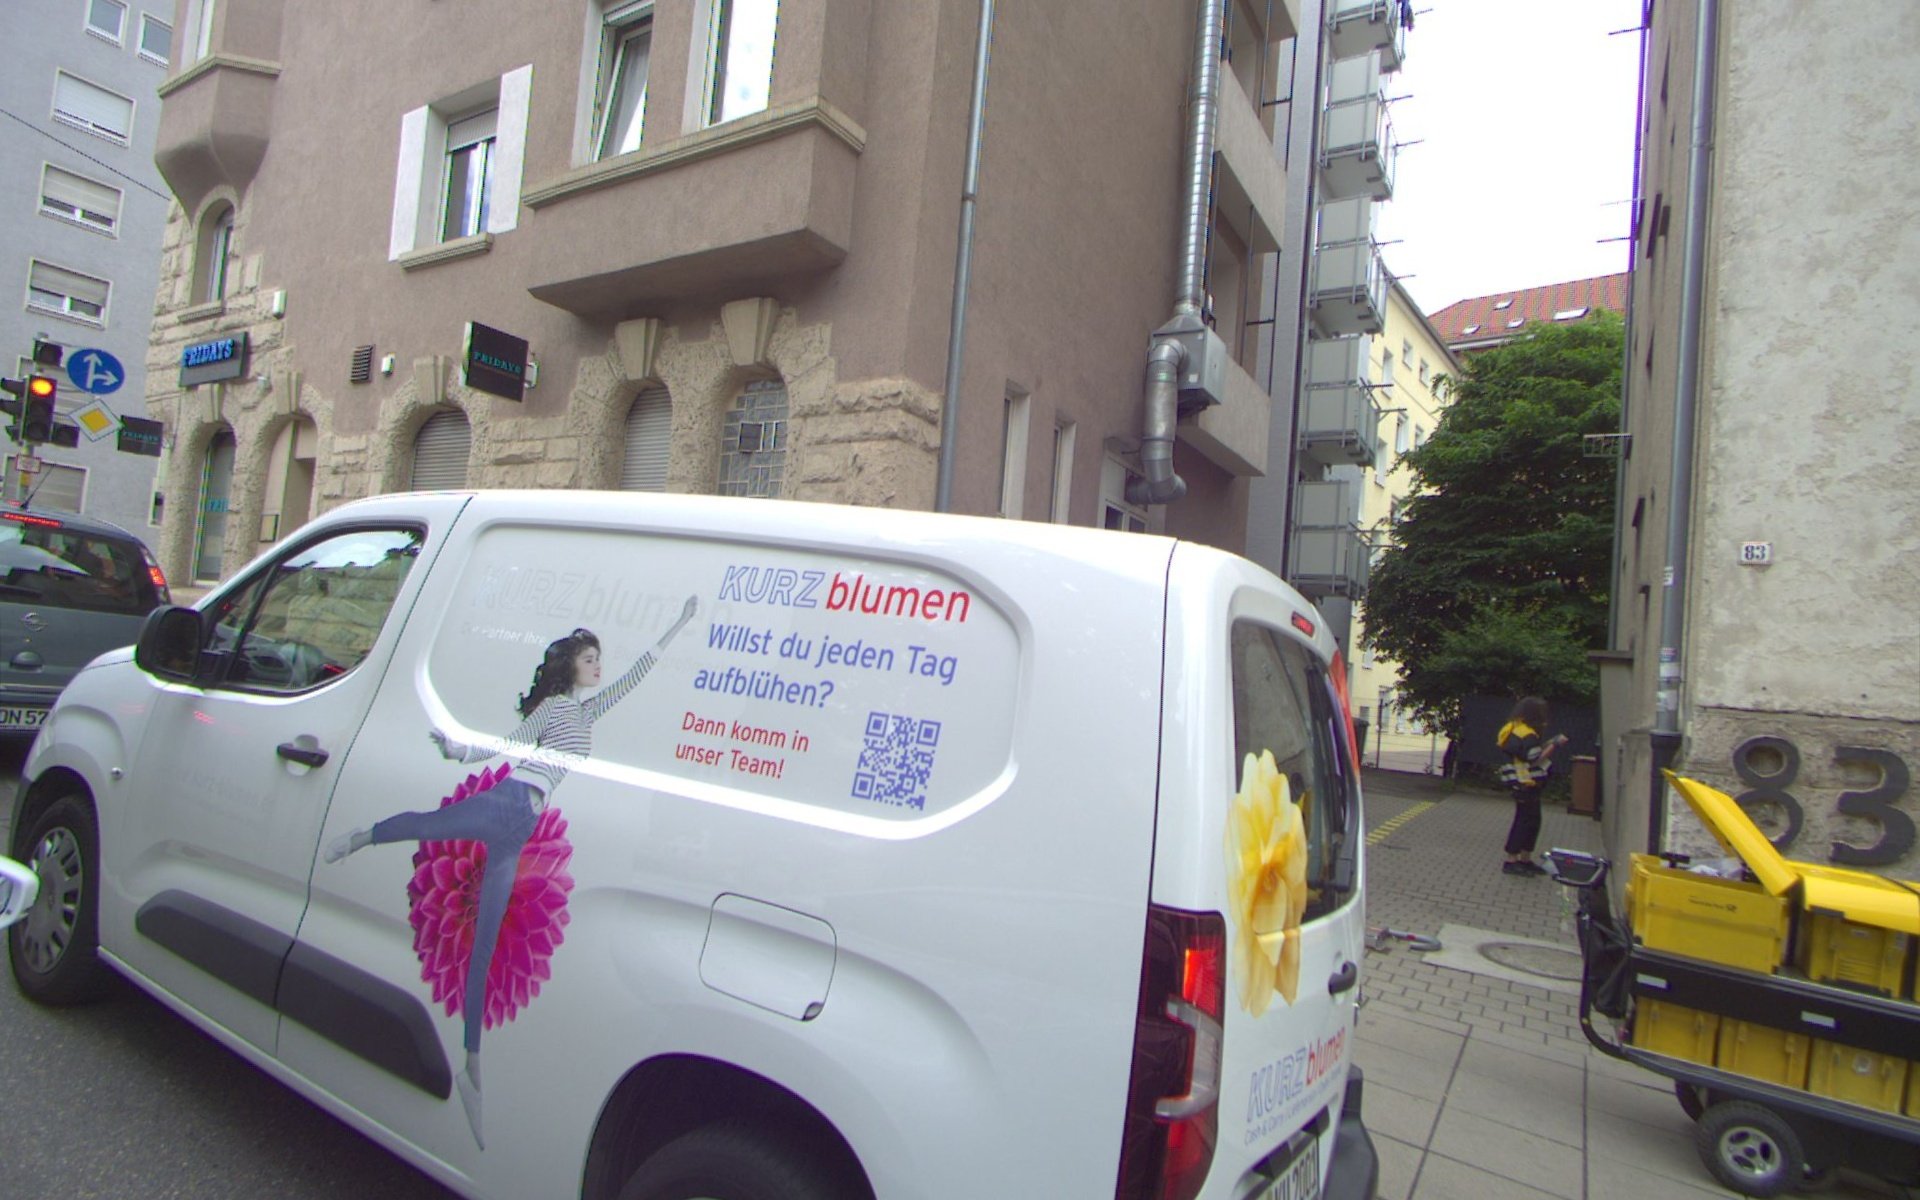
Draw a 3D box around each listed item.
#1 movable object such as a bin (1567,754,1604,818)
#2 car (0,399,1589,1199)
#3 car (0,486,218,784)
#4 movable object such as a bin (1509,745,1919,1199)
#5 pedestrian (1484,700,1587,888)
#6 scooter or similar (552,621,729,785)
[{"bbox_3d":[9.933,2.943,15.977,0.405,0.922,0.340,6,-1,32],"label":"movable object such as a bin"},{"bbox_3d":[-0.908,0.591,3.124,4.597,1.793,1.983,6,-5,30],"label":"car"},{"bbox_3d":[-6.714,0.050,6.528,3.608,1.614,1.634,6,-5,32],"label":"car"},{"bbox_3d":[3.374,1.460,3.982,1.979,1.391,1.223,6,0,30],"label":"movable object such as a bin"},{"bbox_3d":[5.546,1.822,9.741,0.770,1.665,0.811,1,-3,24],"label":"pedestrian"},{"bbox_3d":[-2.647,0.819,8.280,1.400,1.117,0.527,6,-1,34],"label":"scooter or similar"}]
